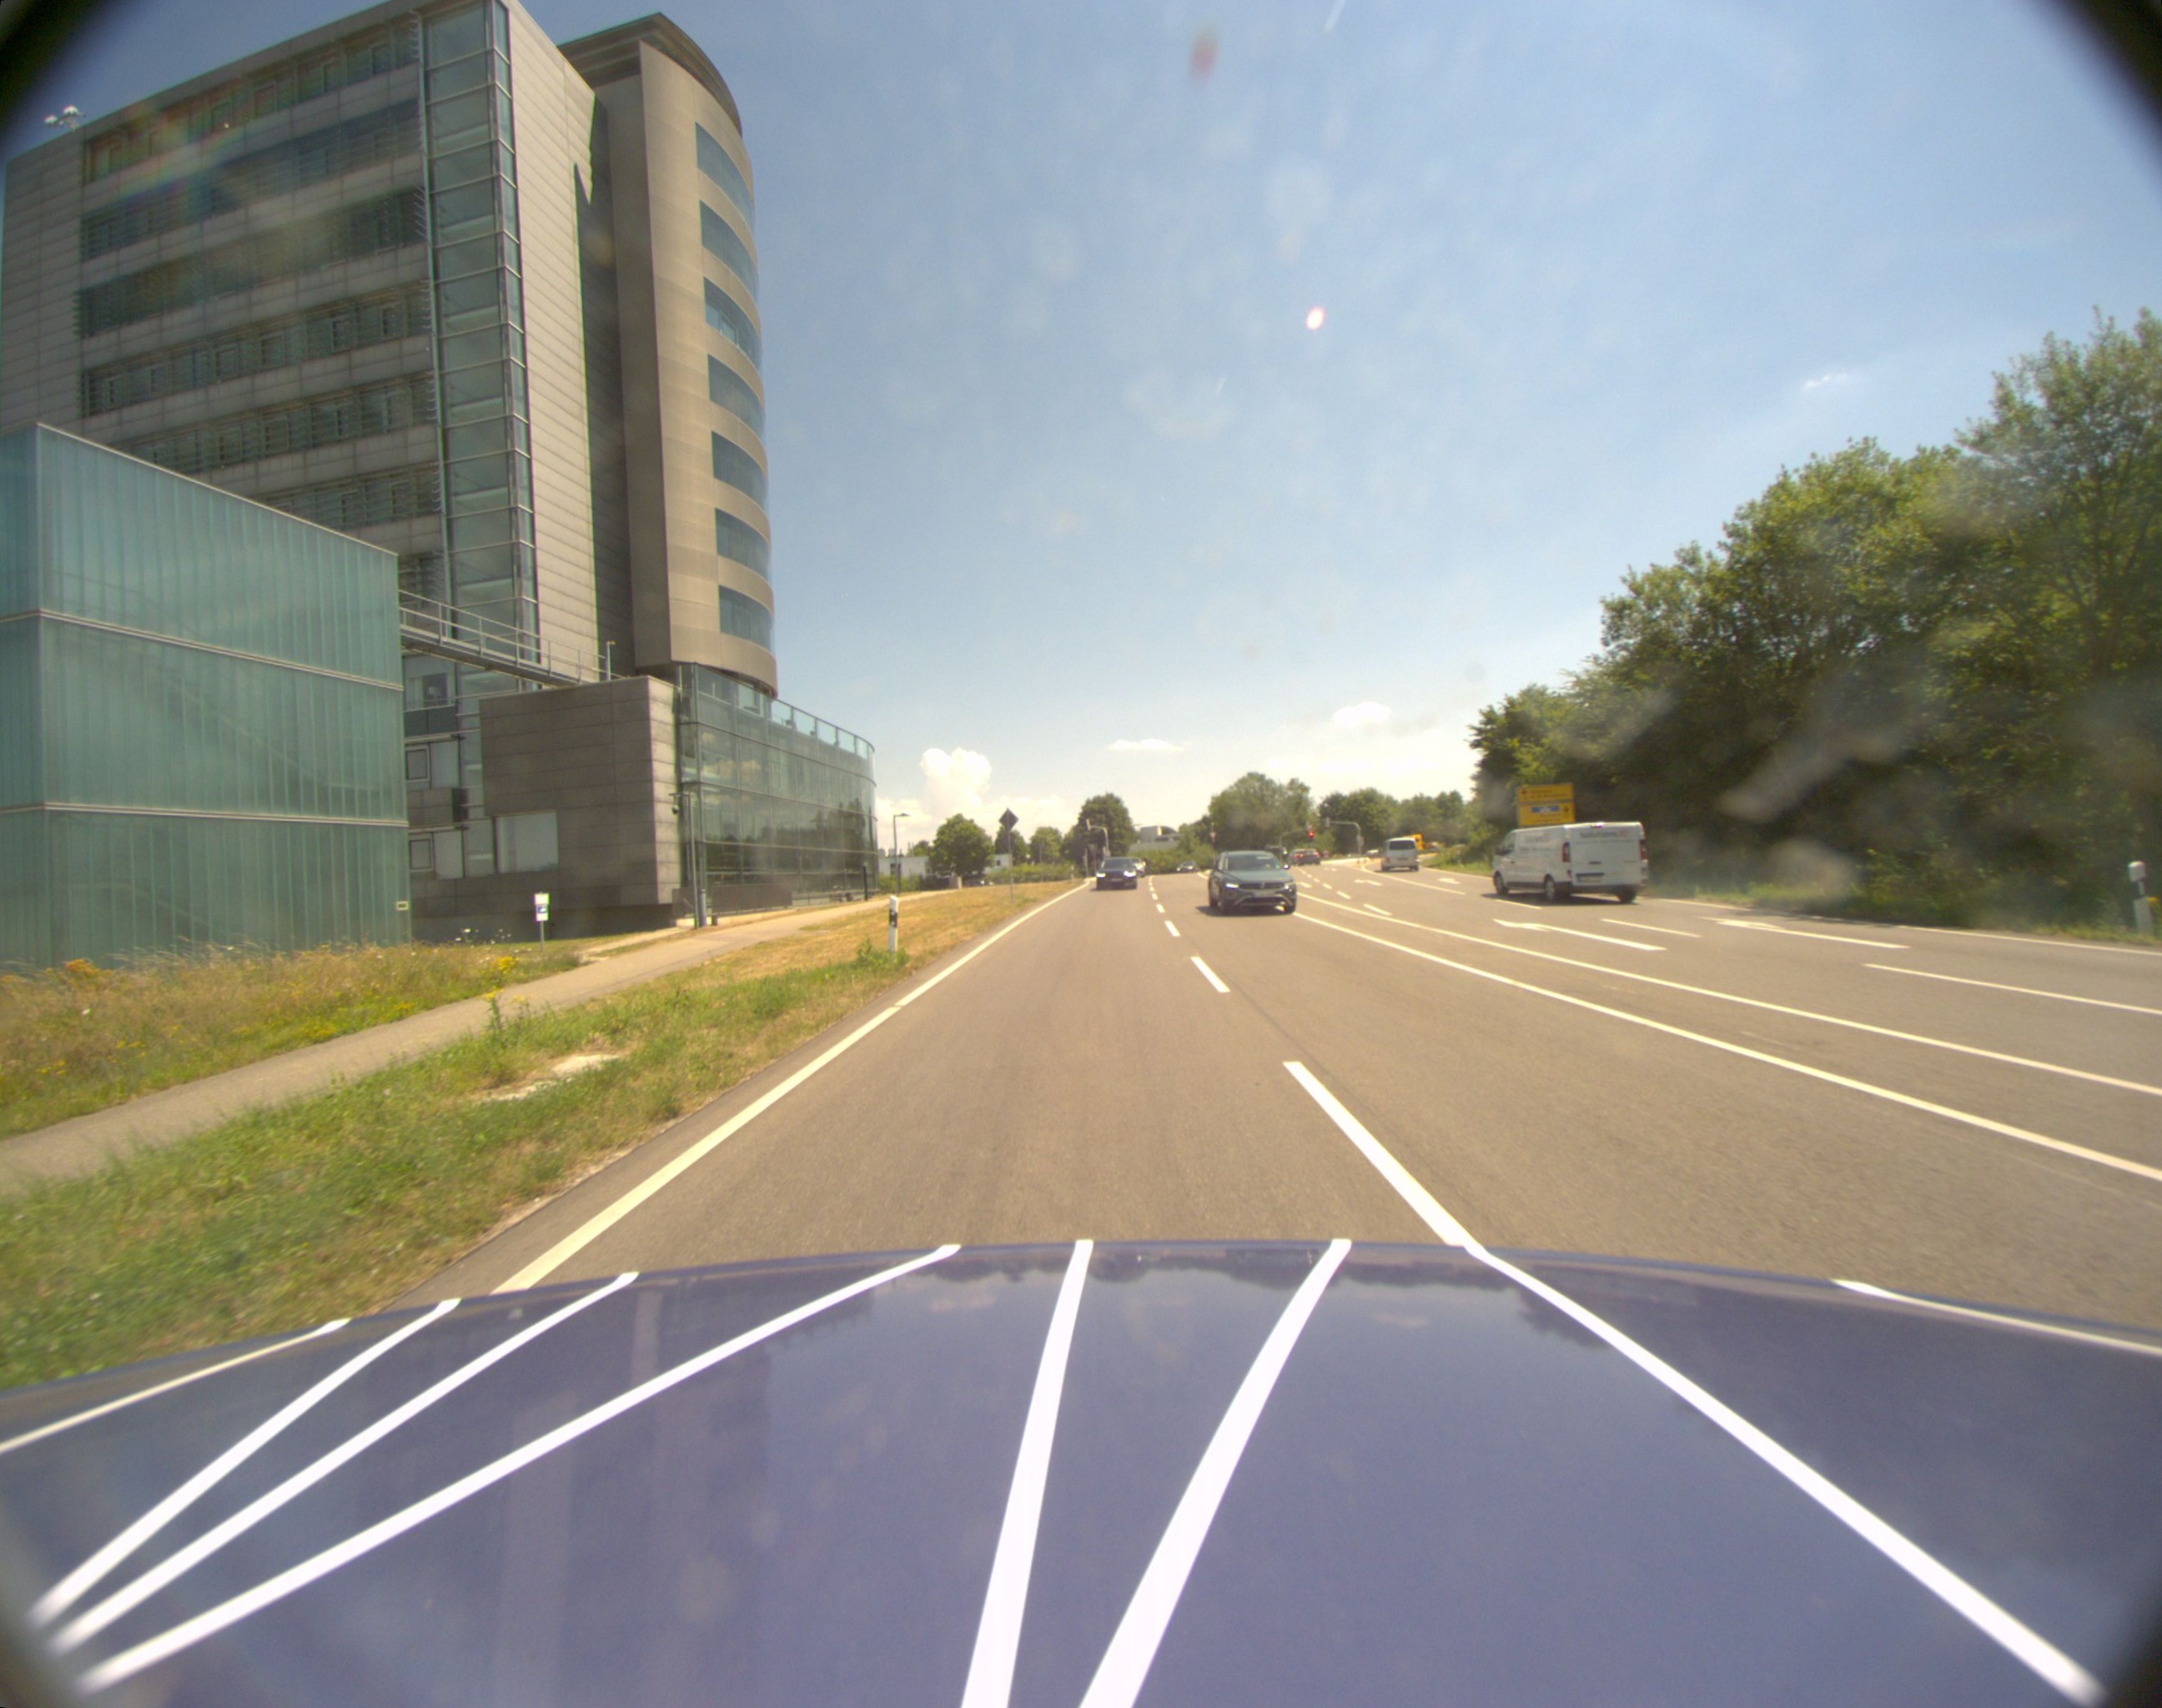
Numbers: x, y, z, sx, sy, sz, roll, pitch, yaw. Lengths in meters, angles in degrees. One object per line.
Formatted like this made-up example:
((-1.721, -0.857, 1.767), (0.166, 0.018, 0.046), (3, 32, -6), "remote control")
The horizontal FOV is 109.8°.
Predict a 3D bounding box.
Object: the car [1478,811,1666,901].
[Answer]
((12.891, 0.034, 20.521), (2.080, 2.002, 5.811), (-3, 0, 10), "car")

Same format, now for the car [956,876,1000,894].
((-10.996, 3.321, 81.038), (4.354, 1.589, 1.937), (-4, -1, -12), "car")

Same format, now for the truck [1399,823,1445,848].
((55.551, -2.971, 123.801), (6.865, 3.516, 2.981), (-3, -1, -27), "truck")

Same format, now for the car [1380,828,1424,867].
((18.886, -0.358, 44.917), (1.976, 2.001, 4.847), (-5, -2, 20), "car")

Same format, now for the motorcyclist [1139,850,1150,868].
((5.526, 0.443, 66.190), (0.860, 1.479, 1.162), (-1, 0, 2), "motorcyclist")

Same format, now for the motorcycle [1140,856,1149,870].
((5.521, 0.794, 66.254), (0.734, 1.131, 2.073), (-1, 0, 2), "motorcycle")

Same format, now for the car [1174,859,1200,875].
((11.767, 1.474, 84.268), (2.115, 1.582, 4.456), (-2, 0, 17), "car")

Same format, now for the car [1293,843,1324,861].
((20.547, -0.134, 68.777), (1.997, 1.430, 4.226), (-4, -1, 9), "car")

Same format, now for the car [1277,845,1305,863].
((21.107, 0.050, 76.379), (1.612, 1.589, 4.355), (-5, -2, 2), "car")

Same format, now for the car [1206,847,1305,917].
((4.408, 0.652, 19.839), (1.838, 1.577, 4.392), (-2, 0, 5), "car")

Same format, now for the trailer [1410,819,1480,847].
((60.758, -3.527, 126.571), (13.189, 4.038, 3.068), (-3, -1, -28), "trailer")

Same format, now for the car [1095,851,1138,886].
((1.693, 0.650, 35.176), (1.779, 1.497, 4.563), (-2, 0, 5), "car")

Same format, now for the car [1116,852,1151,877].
((3.773, 0.746, 53.712), (1.932, 1.577, 4.183), (-5, -2, 10), "car")
